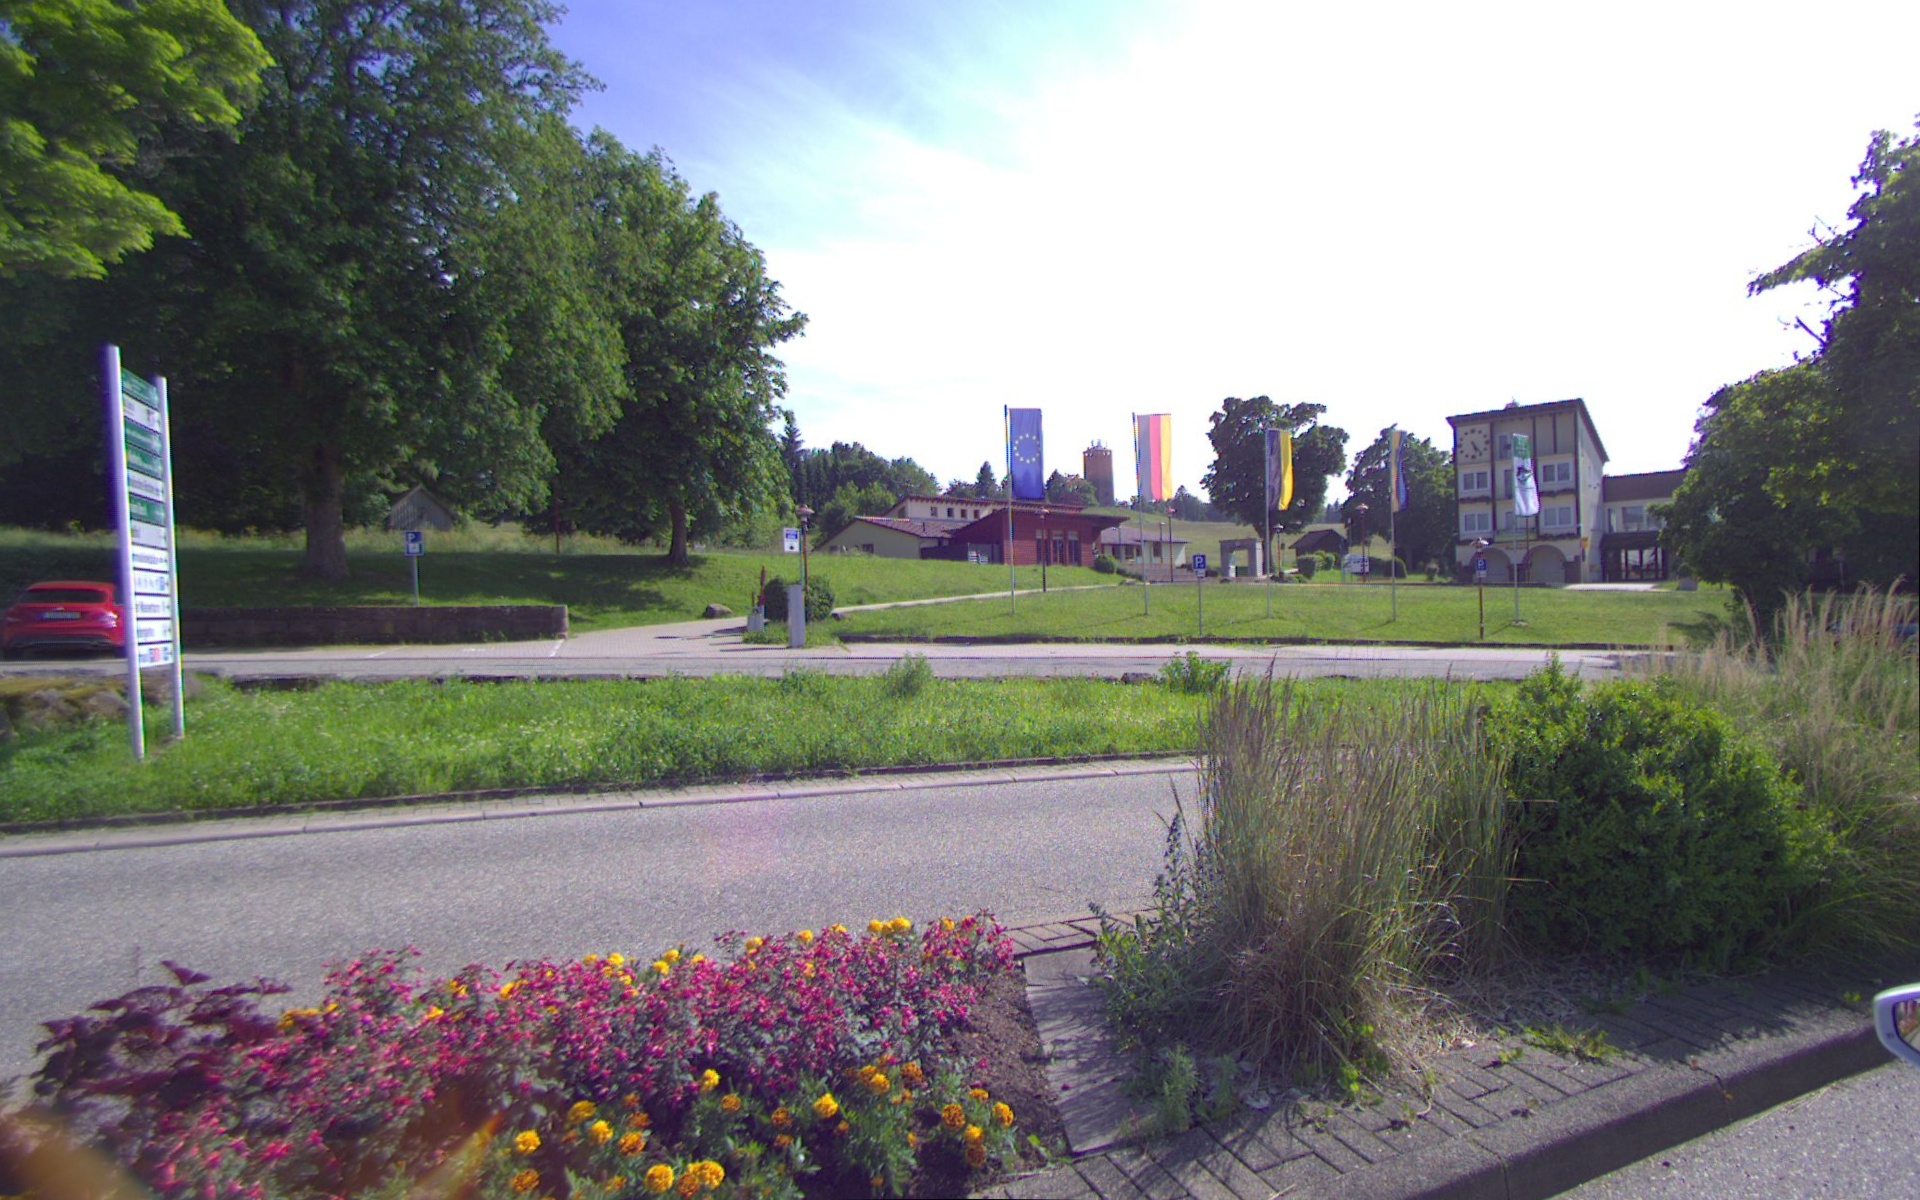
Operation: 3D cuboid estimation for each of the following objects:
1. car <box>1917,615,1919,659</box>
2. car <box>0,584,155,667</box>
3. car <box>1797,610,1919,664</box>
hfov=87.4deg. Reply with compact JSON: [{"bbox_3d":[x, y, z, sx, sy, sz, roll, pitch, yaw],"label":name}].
[{"bbox_3d":[32.395,1.296,31.252,1.740,1.453,3.714,2,2,3],"label":"car"},{"bbox_3d":[-17.174,0.418,19.728,1.805,1.418,4.197,0,1,-34],"label":"car"},{"bbox_3d":[29.117,1.159,32.277,1.741,1.490,3.208,2,2,2],"label":"car"}]
